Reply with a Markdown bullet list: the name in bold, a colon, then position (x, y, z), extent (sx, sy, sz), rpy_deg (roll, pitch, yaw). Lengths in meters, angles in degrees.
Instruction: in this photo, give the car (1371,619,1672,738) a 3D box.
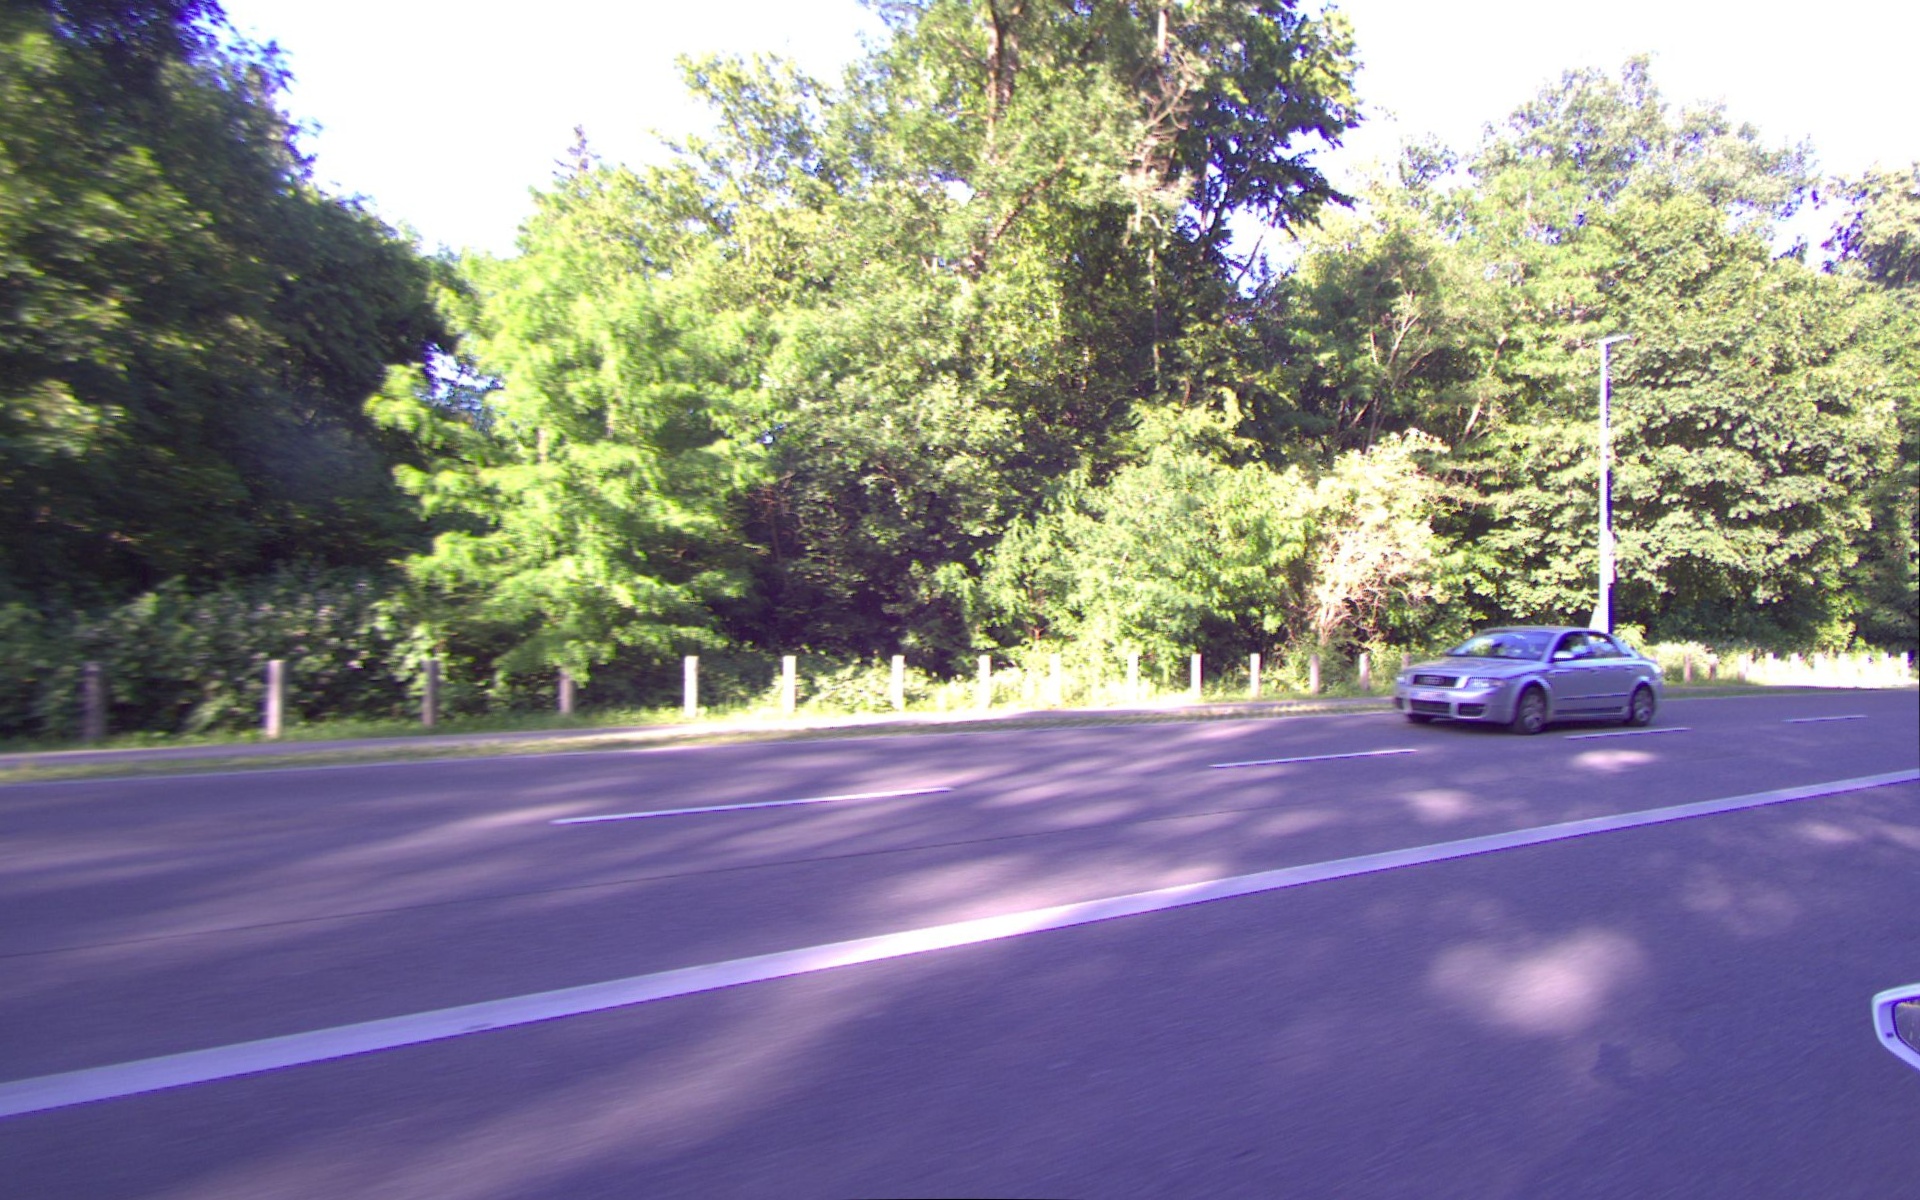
- **car**: position (7.864, 0.991, 14.023), extent (4.113, 1.427, 1.772), rpy_deg (0, -1, -28)
